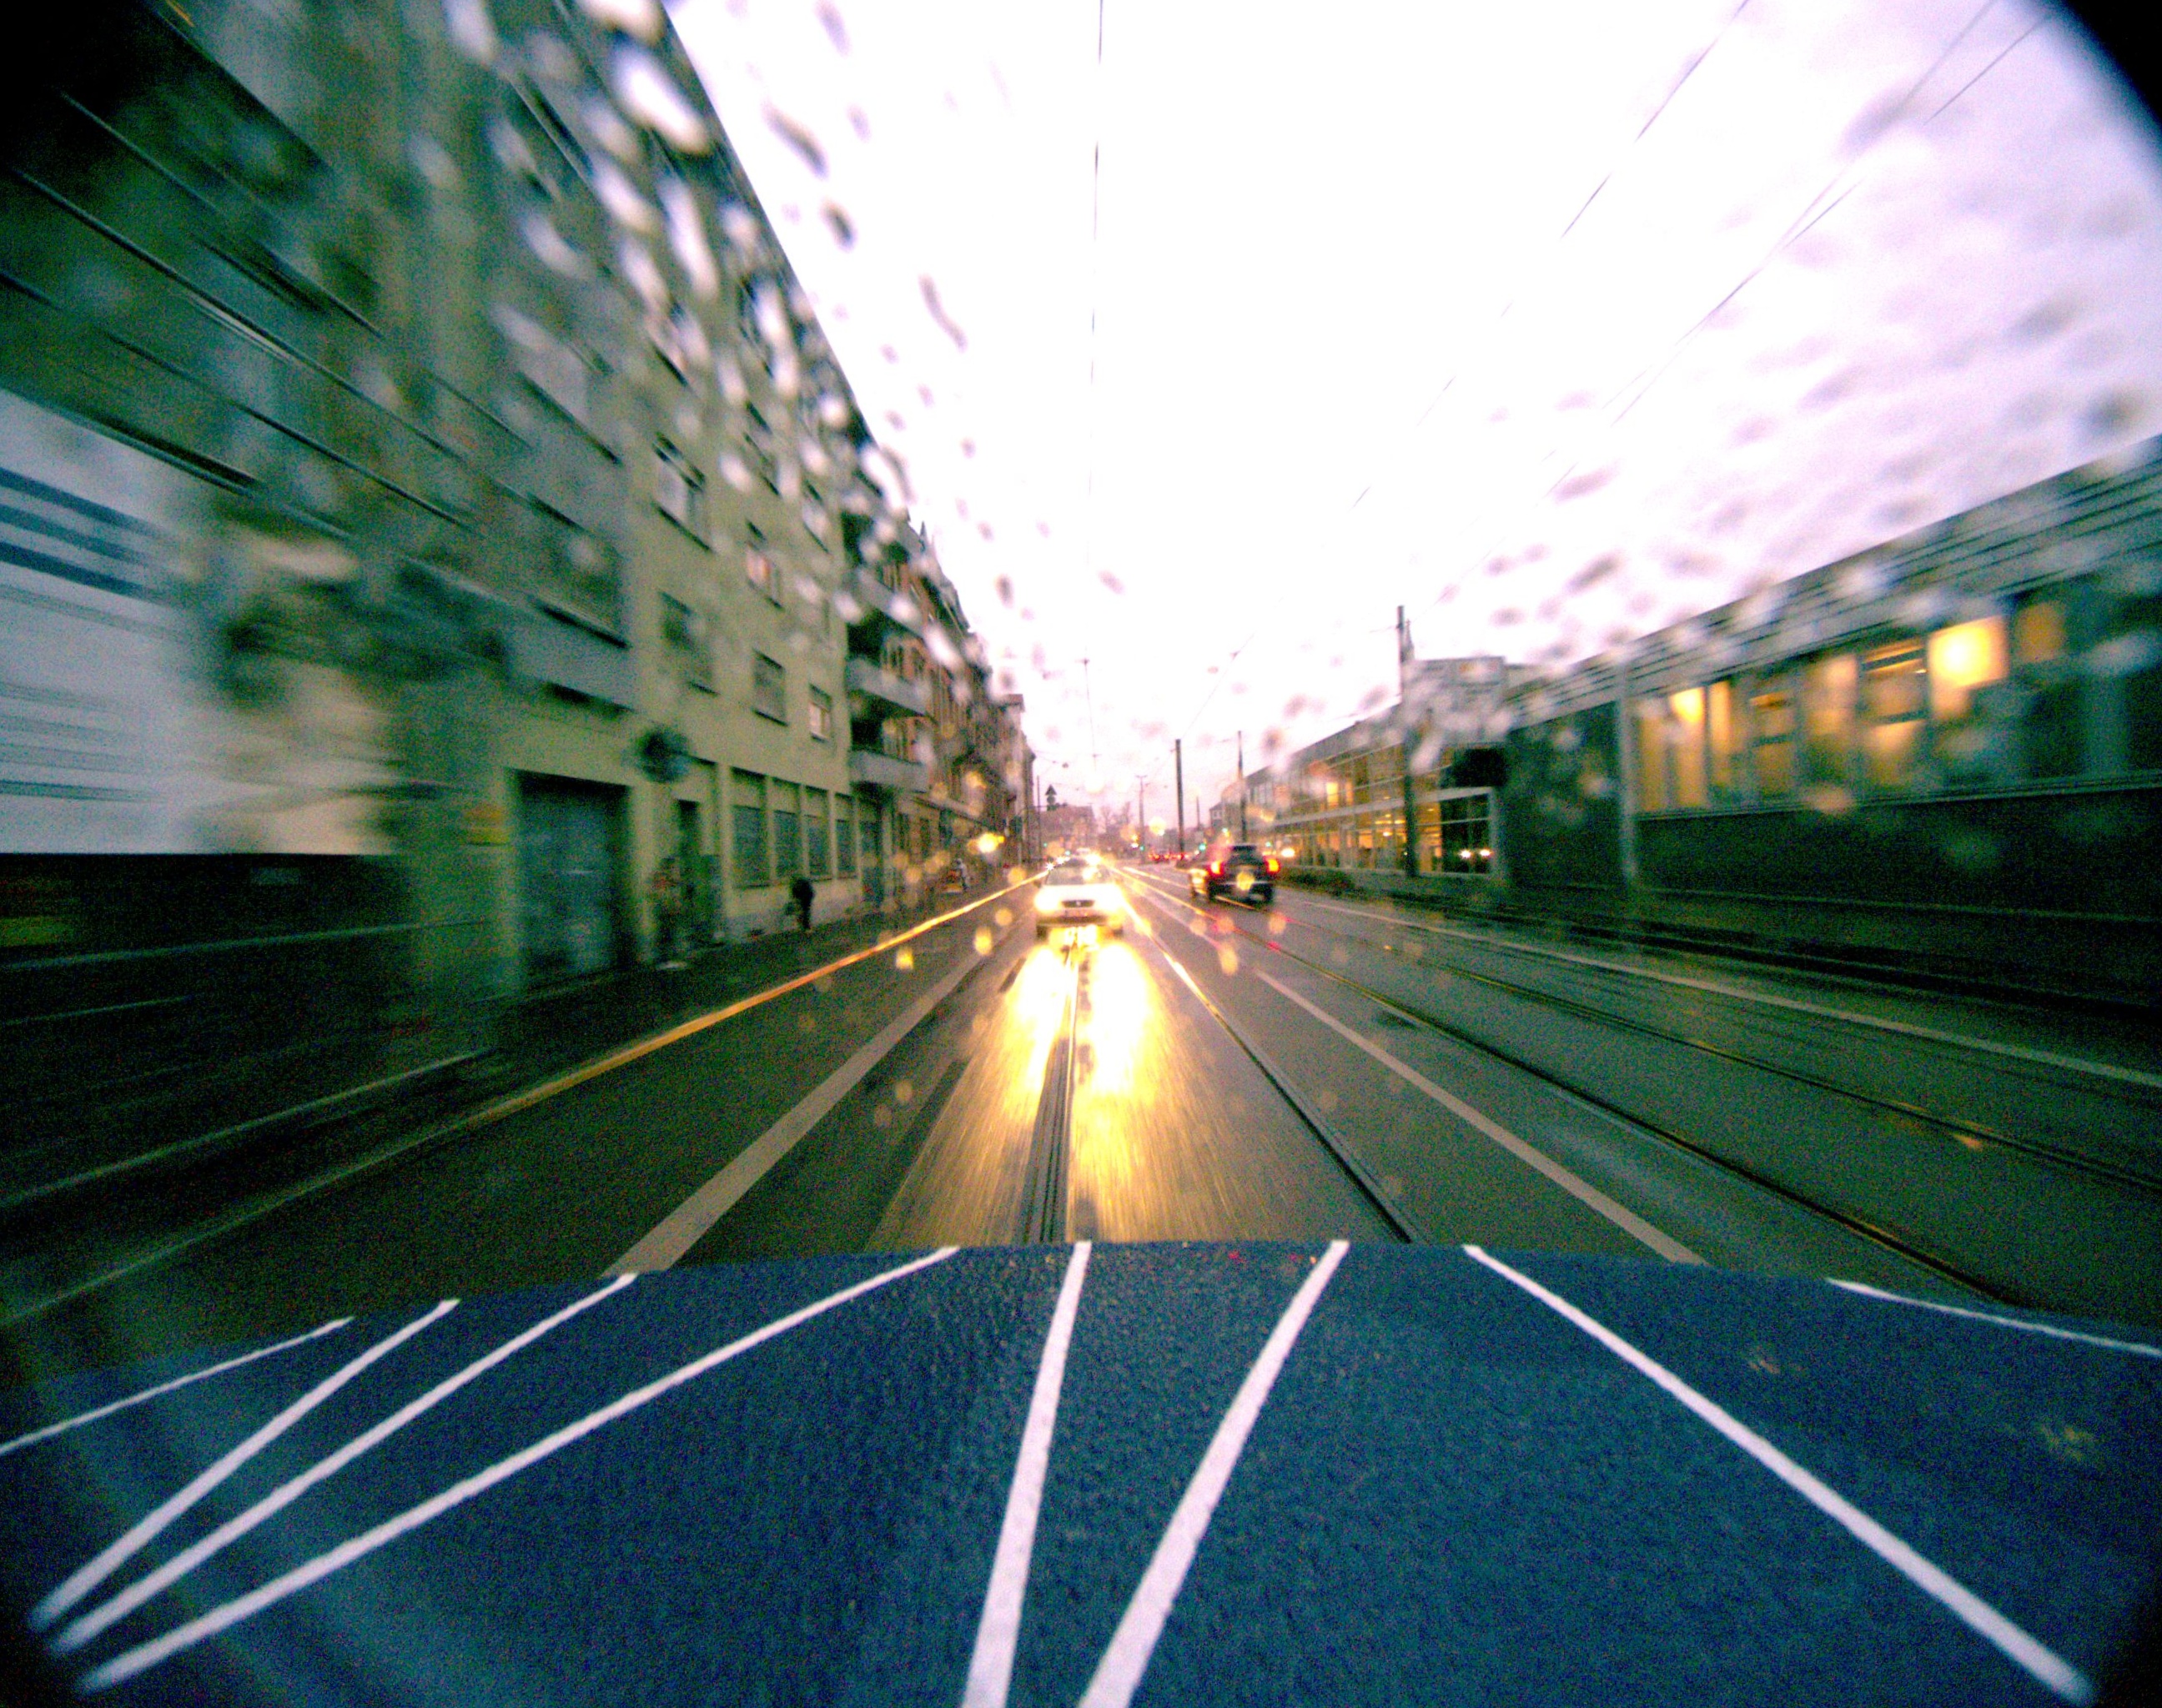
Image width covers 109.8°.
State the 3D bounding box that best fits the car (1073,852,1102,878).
[{"bbox_3d":[0.446,0.718,51.876,1.824,1.565,4.000,-3,1,0],"label":"car"}]

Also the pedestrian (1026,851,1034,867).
[{"bbox_3d":[-5.644,0.593,83.570,0.777,1.734,0.673,-2,1,1],"label":"pedestrian"}]

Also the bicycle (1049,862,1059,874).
[{"bbox_3d":[-2.407,1.267,68.052,0.725,0.985,2.212,-3,1,0],"label":"bicycle"}]

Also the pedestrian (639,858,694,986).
[{"bbox_3d":[-6.164,0.981,11.332,0.601,1.808,0.774,-4,1,-27],"label":"pedestrian"}]

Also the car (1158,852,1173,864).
[{"bbox_3d":[11.953,0.613,107.608,1.845,1.569,4.442,-2,0,2],"label":"car"}]

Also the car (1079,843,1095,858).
[{"bbox_3d":[0.786,-0.518,97.895,2.018,1.809,3.688,-3,1,1],"label":"car"}]

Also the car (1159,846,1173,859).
[{"bbox_3d":[14.340,-0.207,128.669,1.998,2.002,4.685,-3,1,4],"label":"car"}]

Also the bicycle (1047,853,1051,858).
[{"bbox_3d":[-5.471,0.208,129.305,0.609,0.757,1.860,-2,1,-1],"label":"bicycle"}]

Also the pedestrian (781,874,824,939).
[{"bbox_3d":[-6.197,1.154,16.955,0.601,1.369,0.728,-3,1,0],"label":"pedestrian"}]

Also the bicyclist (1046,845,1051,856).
[{"bbox_3d":[-5.491,-0.613,129.323,0.747,1.869,1.111,-2,1,-2],"label":"bicyclist"}]

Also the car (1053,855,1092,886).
[{"bbox_3d":[-0.386,0.825,40.114,1.797,1.415,4.000,-3,1,2],"label":"car"}]

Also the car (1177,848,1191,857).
[{"bbox_3d":[17.361,-0.240,128.013,1.998,1.413,4.588,-3,1,3],"label":"car"}]

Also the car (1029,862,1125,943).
[{"bbox_3d":[0.008,0.953,16.669,1.797,1.415,4.000,-3,1,2],"label":"car"}]

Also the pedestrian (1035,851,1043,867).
[{"bbox_3d":[-4.627,0.551,83.534,0.777,1.734,0.673,-2,1,1],"label":"pedestrian"}]

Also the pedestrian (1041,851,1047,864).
[{"bbox_3d":[-4.530,0.429,92.902,0.633,1.539,0.710,-3,1,-5],"label":"pedestrian"}]

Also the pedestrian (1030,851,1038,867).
[{"bbox_3d":[-5.244,0.534,84.347,0.777,1.734,0.673,-2,1,1],"label":"pedestrian"}]

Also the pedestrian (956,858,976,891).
[{"bbox_3d":[-5.605,1.004,37.107,0.788,1.588,0.741,-2,1,-1],"label":"pedestrian"}]

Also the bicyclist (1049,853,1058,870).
[{"bbox_3d":[-2.429,0.674,68.090,0.727,1.525,0.785,-3,1,0],"label":"bicyclist"}]

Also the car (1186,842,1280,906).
[{"bbox_3d":[4.492,0.547,23.171,1.880,1.700,4.760,-1,0,0],"label":"car"}]

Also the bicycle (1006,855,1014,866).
[{"bbox_3d":[-6.000,0.549,64.364,0.398,0.906,1.866,-2,0,0],"label":"bicycle"}]
